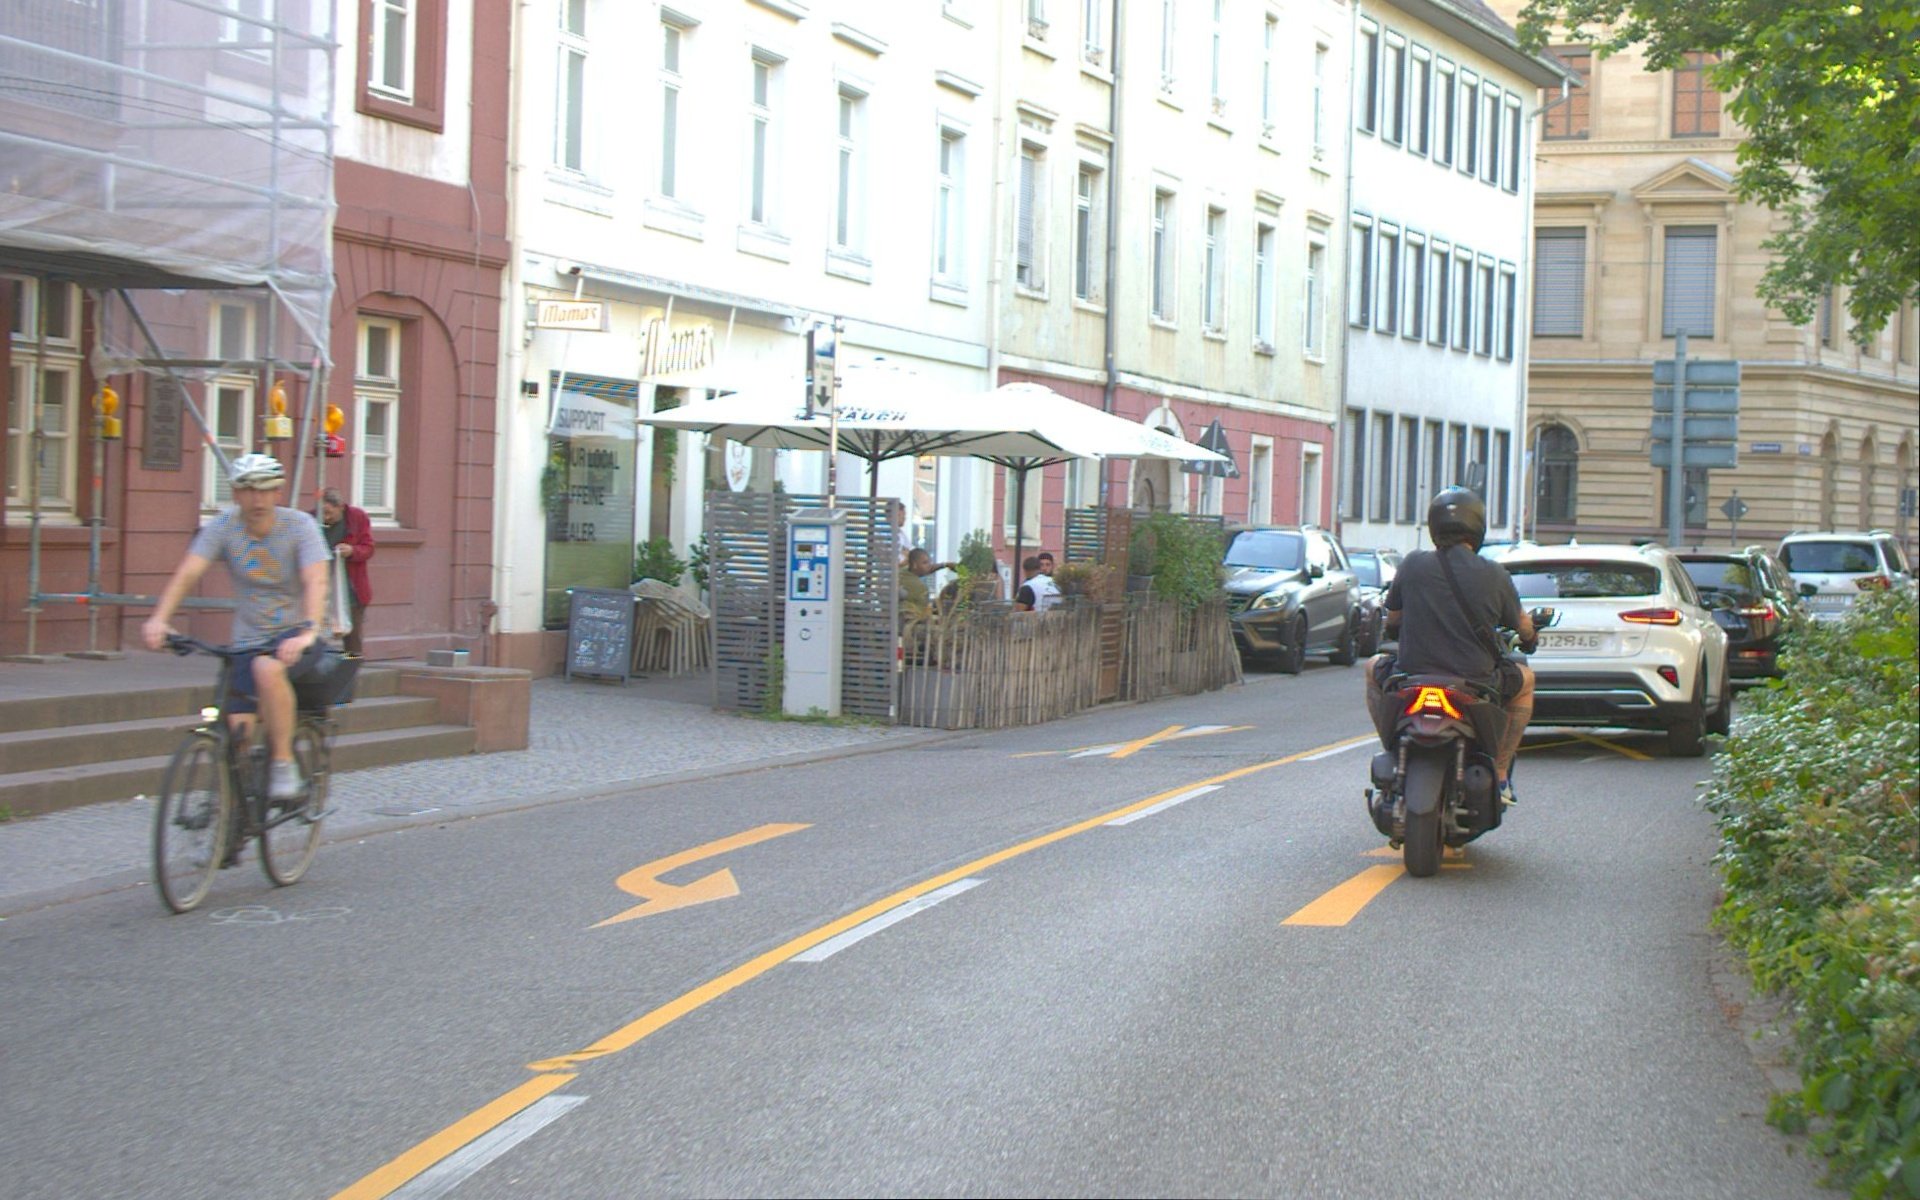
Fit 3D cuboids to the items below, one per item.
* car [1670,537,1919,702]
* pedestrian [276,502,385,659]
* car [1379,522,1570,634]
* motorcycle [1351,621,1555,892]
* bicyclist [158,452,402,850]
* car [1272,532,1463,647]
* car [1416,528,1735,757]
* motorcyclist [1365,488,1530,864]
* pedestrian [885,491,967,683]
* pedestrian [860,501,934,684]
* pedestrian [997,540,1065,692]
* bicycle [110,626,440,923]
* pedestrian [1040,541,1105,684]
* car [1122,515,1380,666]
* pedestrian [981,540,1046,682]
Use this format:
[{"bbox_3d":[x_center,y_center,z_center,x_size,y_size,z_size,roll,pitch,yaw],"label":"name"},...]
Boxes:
[{"bbox_3d":[8.358,0.142,34.181,1.842,1.458,4.053,3,2,21],"label":"car"},{"bbox_3d":[-4.340,-0.139,23.722,0.537,1.049,0.551,3,2,13],"label":"pedestrian"},{"bbox_3d":[8.135,-0.374,54.073,1.936,1.662,4.342,1,1,23],"label":"car"},{"bbox_3d":[2.199,0.674,15.526,0.797,1.062,1.725,2,2,6],"label":"motorcycle"},{"bbox_3d":[-2.812,0.194,14.273,0.744,1.578,0.795,2,2,6],"label":"bicyclist"},{"bbox_3d":[5.596,-0.180,46.826,1.655,1.475,4.424,1,1,19],"label":"car"},{"bbox_3d":[4.553,0.239,24.986,1.852,1.475,4.054,2,2,16],"label":"car"},{"bbox_3d":[2.207,0.330,15.602,0.657,1.645,0.650,2,2,7],"label":"motorcyclist"},{"bbox_3d":[-0.316,-0.129,32.265,0.596,1.769,0.438,2,2,26],"label":"pedestrian"},{"bbox_3d":[-0.613,-0.077,33.647,0.438,1.769,0.596,2,2,30],"label":"pedestrian"},{"bbox_3d":[0.681,0.149,32.819,0.471,1.428,0.501,2,2,22],"label":"pedestrian"},{"bbox_3d":[-2.820,0.684,14.395,0.771,1.059,2.078,1,2,6],"label":"bicycle"},{"bbox_3d":[1.112,0.115,33.945,0.523,1.386,0.488,2,1,14],"label":"pedestrian"},{"bbox_3d":[3.549,-0.153,41.084,1.924,1.674,4.781,1,1,19],"label":"car"},{"bbox_3d":[0.532,0.105,34.093,0.523,1.386,0.488,2,1,14],"label":"pedestrian"}]
